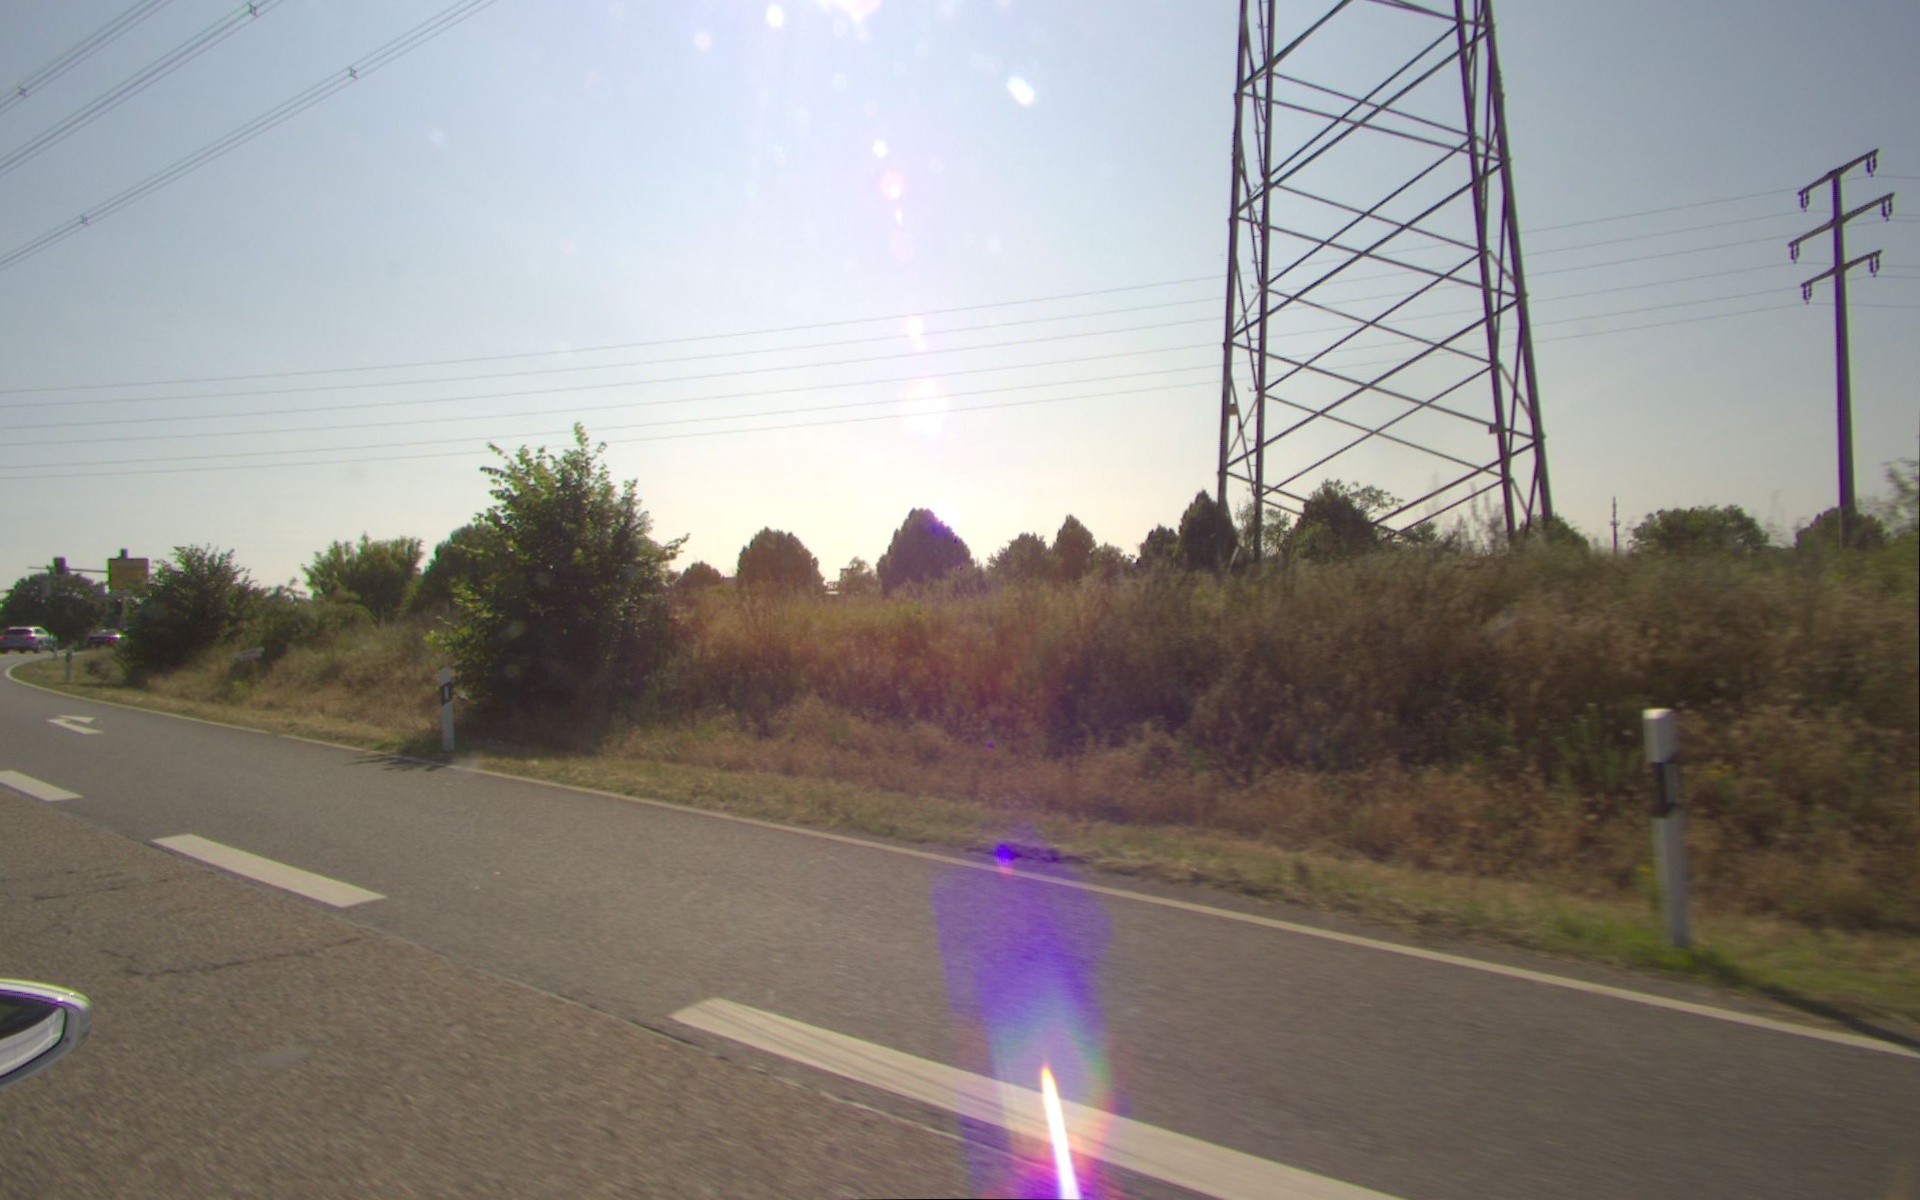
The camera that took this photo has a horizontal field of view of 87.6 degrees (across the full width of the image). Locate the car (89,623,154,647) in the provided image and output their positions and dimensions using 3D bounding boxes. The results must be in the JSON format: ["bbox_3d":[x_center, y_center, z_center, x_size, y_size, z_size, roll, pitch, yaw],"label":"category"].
[{"bbox_3d":[-54.504,2.237,65.164,1.617,1.404,3.994,-1,0,-14],"label":"car"}]

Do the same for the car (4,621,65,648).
[{"bbox_3d":[-59.494,2.210,64.444,1.611,1.698,3.740,0,-2,-22],"label":"car"}]
